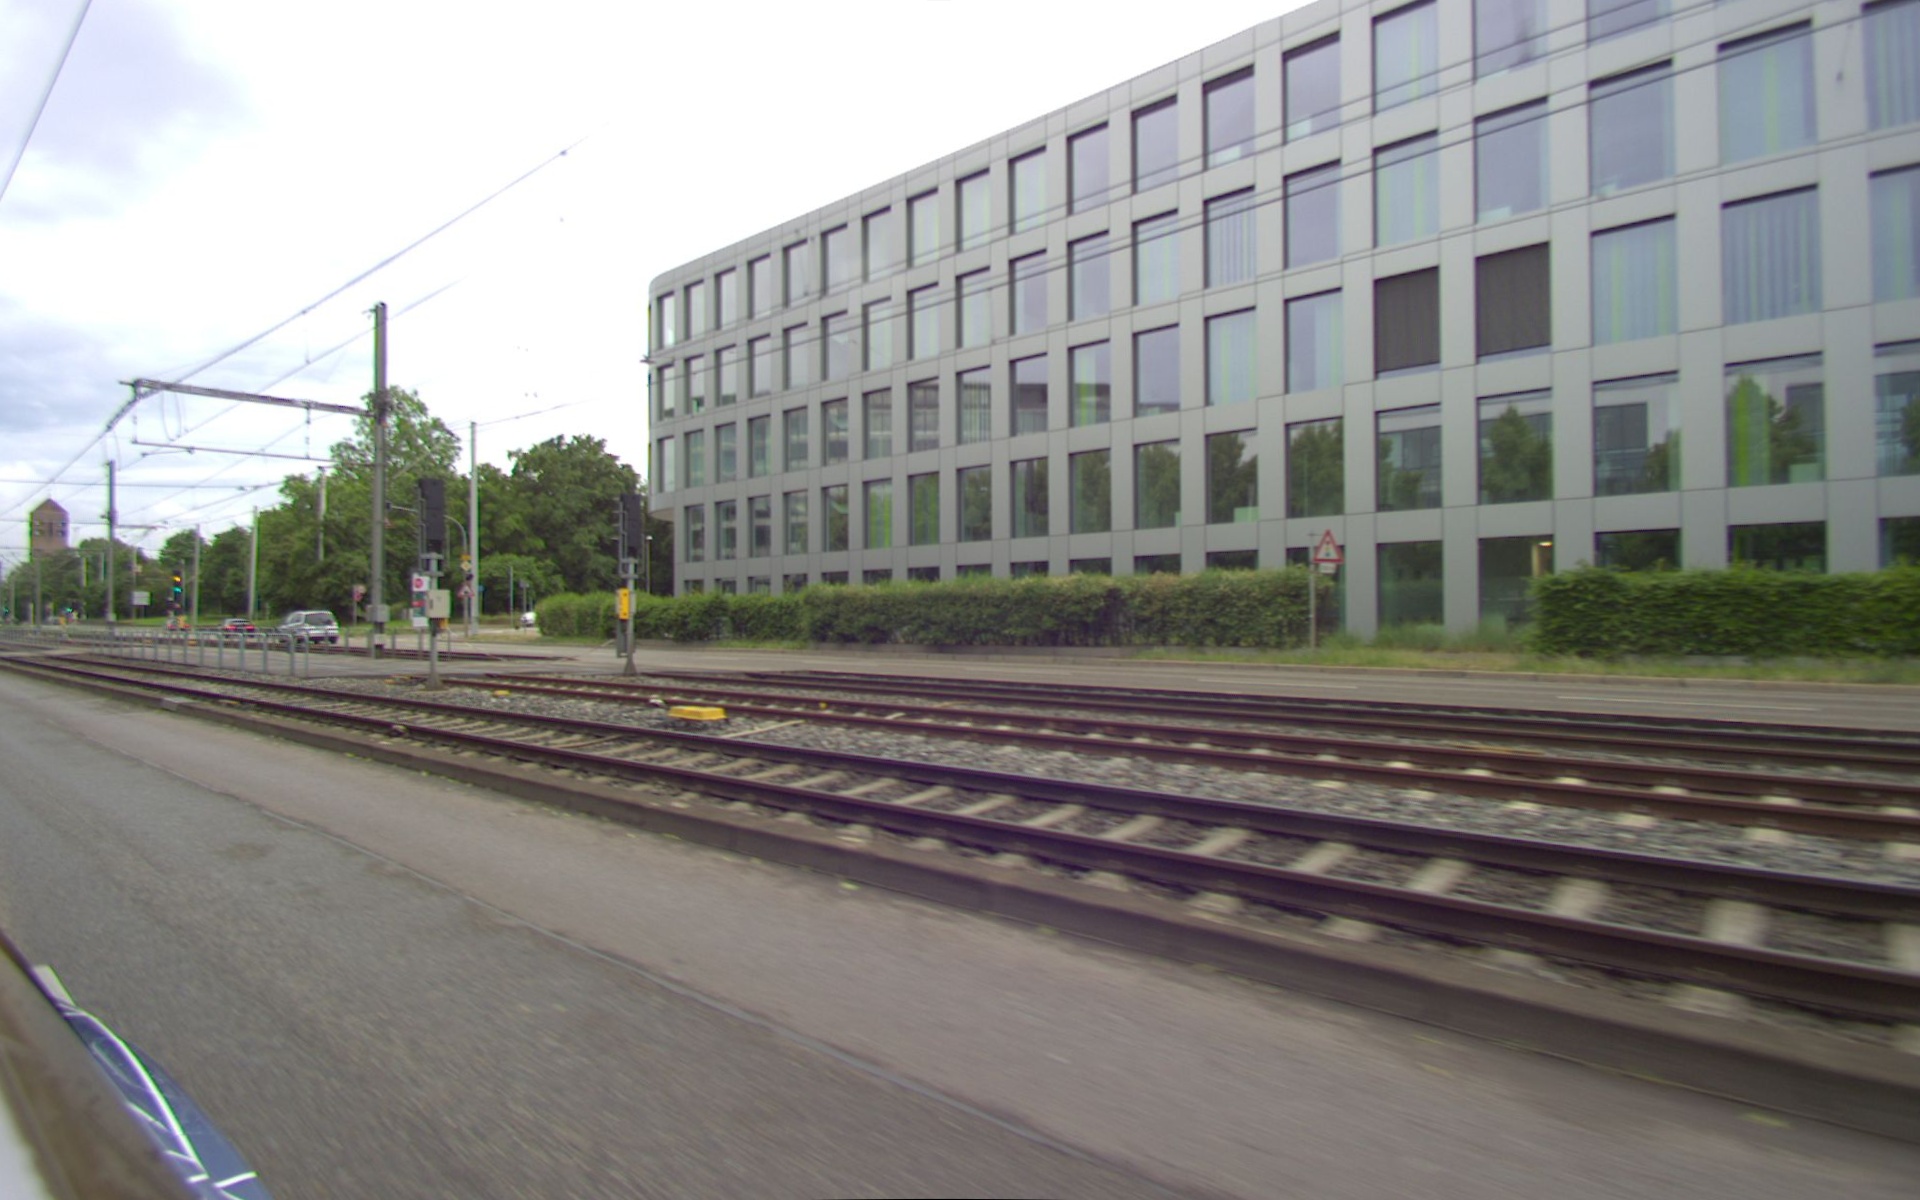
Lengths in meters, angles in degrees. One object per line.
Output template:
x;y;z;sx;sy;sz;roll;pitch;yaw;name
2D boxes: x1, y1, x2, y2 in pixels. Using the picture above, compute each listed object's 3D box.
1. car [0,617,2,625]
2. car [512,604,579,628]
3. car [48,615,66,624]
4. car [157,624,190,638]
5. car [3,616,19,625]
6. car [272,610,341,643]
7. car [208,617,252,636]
-176.447;3.872;184.955;4.309;1.497;1.870;-1;-1;44;car
-29.169;1.123;71.233;1.924;1.464;3.882;-1;2;39;car
-143.778;3.084;161.122;3.901;1.408;1.741;-1;-1;44;car
-74.781;2.939;96.241;3.986;1.253;1.738;-1;-1;41;car
-181.363;3.921;193.334;4.848;1.607;1.926;-1;-1;44;car
-33.937;1.373;52.506;4.883;1.657;1.882;-1;-1;43;car
-54.434;1.955;75.443;4.257;1.357;1.779;-1;-1;41;car
